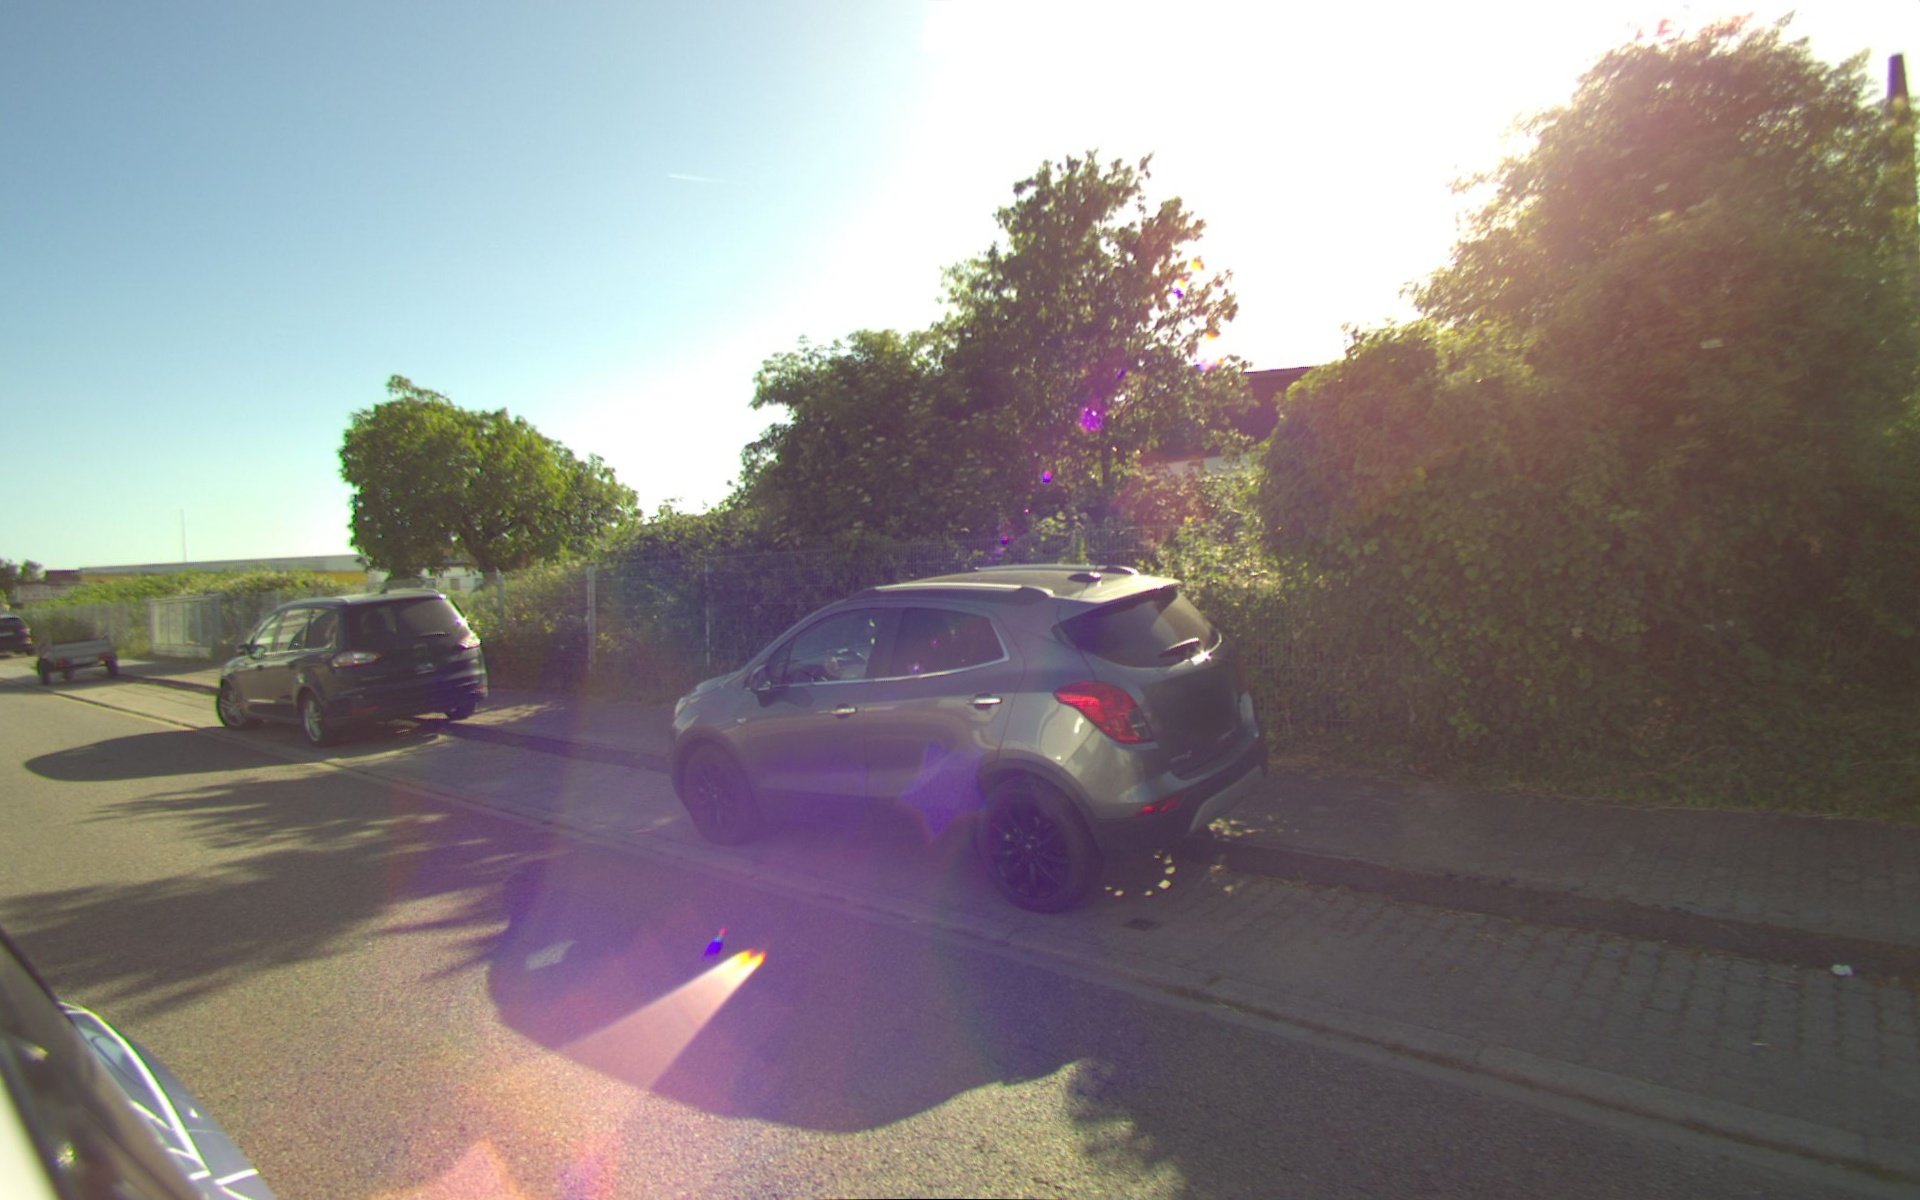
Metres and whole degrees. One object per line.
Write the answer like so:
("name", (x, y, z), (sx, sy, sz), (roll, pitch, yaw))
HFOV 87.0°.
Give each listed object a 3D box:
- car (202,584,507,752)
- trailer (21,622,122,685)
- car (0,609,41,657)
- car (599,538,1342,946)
("car", (-7.900, 0.740, 13.003), (4.797, 1.743, 1.774), (-1, 2, 39))
("trailer", (-22.129, 1.283, 25.178), (3.077, 1.364, 1.461), (-1, 2, 41))
("car", (-37.779, 1.325, 39.522), (5.102, 1.706, 2.011), (-2, 4, 40))
("car", (-0.155, 0.617, 6.480), (4.458, 1.674, 1.890), (-2, 5, 39))
